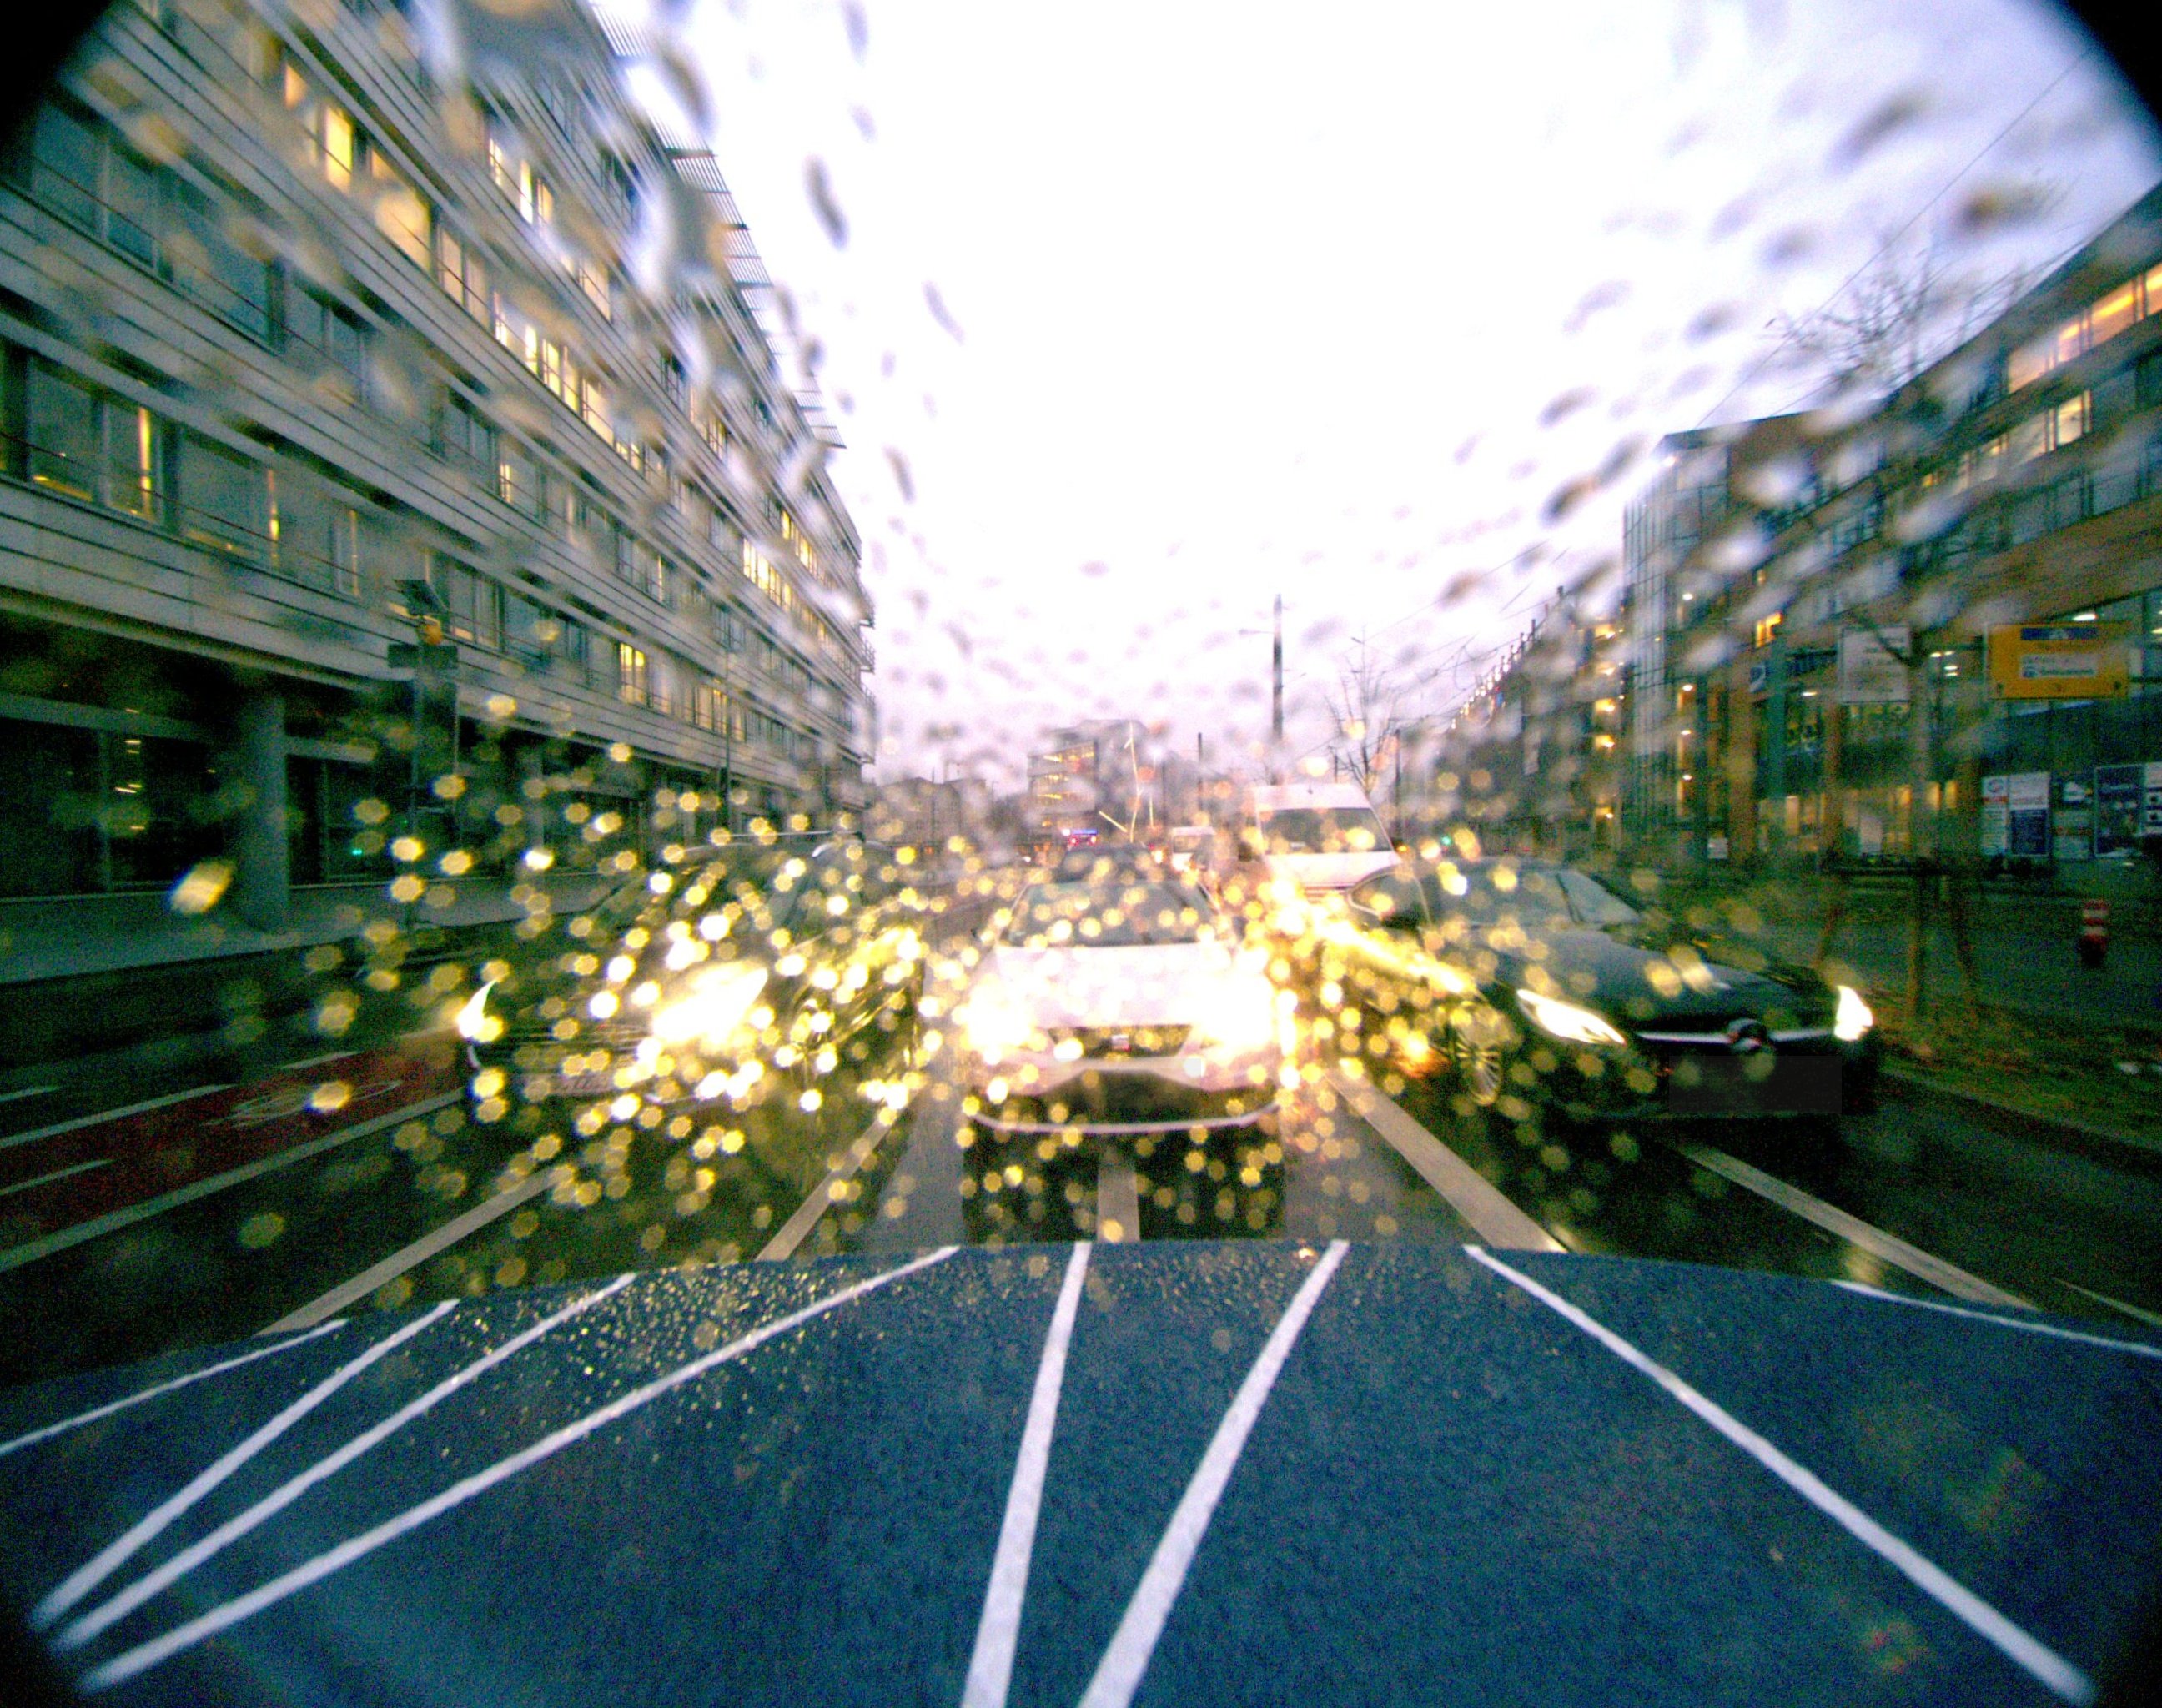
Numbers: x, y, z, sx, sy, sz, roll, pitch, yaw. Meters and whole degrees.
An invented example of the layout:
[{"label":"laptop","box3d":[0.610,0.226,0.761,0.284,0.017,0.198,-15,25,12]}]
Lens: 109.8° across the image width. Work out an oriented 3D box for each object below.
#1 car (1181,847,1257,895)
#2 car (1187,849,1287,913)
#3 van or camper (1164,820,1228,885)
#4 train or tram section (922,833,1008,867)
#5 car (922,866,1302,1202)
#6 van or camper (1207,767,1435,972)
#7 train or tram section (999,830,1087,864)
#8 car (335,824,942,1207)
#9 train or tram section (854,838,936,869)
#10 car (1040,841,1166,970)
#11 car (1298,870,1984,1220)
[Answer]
[{"label":"car","box3d":[4.448,0.504,25.024,1.824,1.391,3.952,-2,1,2]},{"label":"car","box3d":[3.893,0.621,19.540,1.824,1.391,3.952,-2,1,2]},{"label":"van or camper","box3d":[4.662,-0.092,31.539,2.184,2.339,5.651,-2,1,5]},{"label":"train or tram section","box3d":[-18.940,-0.654,124.247,13.361,4.905,3.742,-2,1,15]},{"label":"car","box3d":[0.214,0.909,5.765,1.773,1.449,4.221,-2,1,2]},{"label":"van or camper","box3d":[3.552,0.150,12.621,2.061,2.533,5.885,-2,1,2]},{"label":"train or tram section","box3d":[-6.009,-1.109,120.804,13.361,4.832,3.742,-2,1,15]},{"label":"car","box3d":[-2.591,0.773,6.052,1.909,1.809,4.689,-2,1,1]},{"label":"train or tram section","box3d":[-31.503,-0.095,128.579,13.356,4.775,3.744,-2,1,21]},{"label":"car","box3d":[0.360,0.698,12.422,1.684,1.723,3.714,-2,1,2]},{"label":"car","box3d":[3.016,0.878,5.394,1.824,1.324,4.225,-2,1,2]}]
